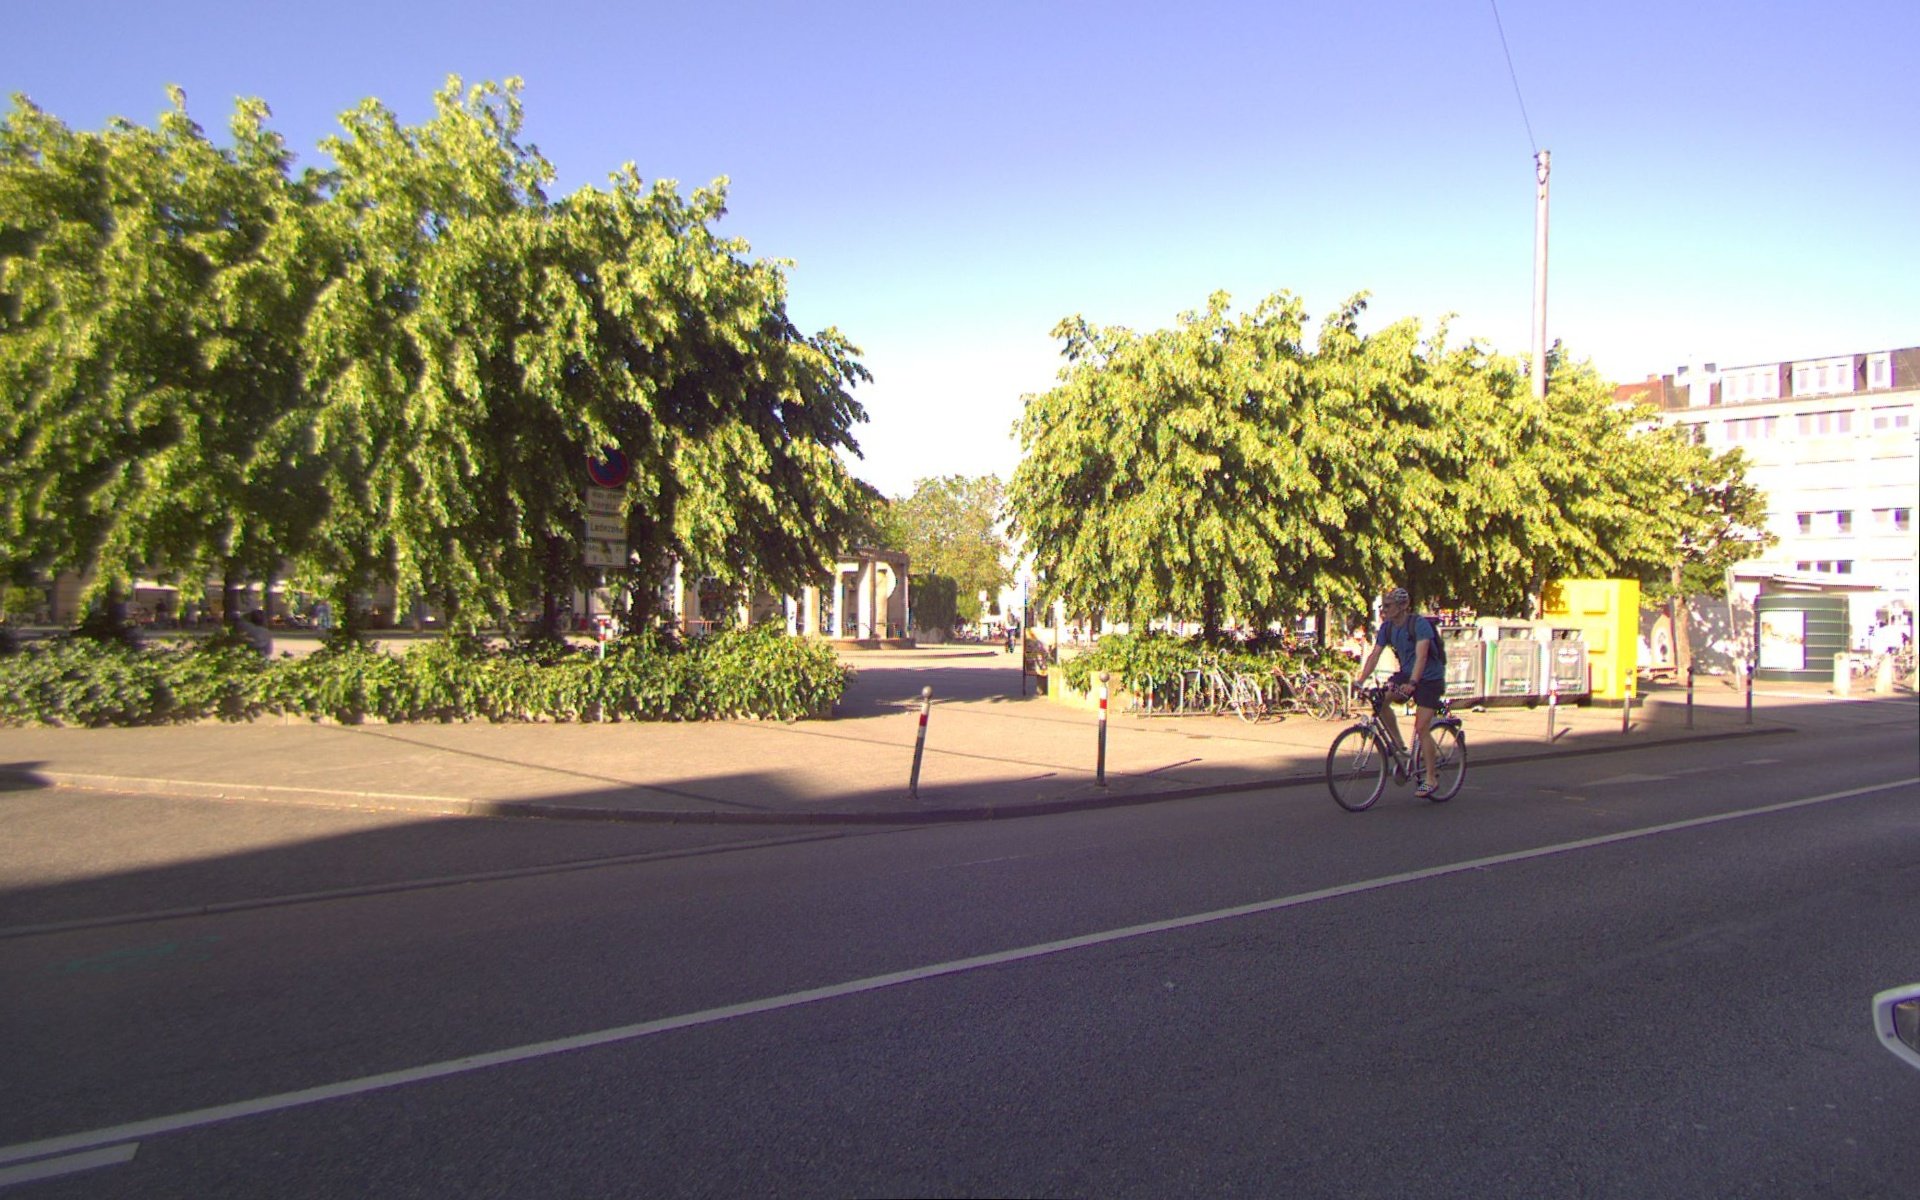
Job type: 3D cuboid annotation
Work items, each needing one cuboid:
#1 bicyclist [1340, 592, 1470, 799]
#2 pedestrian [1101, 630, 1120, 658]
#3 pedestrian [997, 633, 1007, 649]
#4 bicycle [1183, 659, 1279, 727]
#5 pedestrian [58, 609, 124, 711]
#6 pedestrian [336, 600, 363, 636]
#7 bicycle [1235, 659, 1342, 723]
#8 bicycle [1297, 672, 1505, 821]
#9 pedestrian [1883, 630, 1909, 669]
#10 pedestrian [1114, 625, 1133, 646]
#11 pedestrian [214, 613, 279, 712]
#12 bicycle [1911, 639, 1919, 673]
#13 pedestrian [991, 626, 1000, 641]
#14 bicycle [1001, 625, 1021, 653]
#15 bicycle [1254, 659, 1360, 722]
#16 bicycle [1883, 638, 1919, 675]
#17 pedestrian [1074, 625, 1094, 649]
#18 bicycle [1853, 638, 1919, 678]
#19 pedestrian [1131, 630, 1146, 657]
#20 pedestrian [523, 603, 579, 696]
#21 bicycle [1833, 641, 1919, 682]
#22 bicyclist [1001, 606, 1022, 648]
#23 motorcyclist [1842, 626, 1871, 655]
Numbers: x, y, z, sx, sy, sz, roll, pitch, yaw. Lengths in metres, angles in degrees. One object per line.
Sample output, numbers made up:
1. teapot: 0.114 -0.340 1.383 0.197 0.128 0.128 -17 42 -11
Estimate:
1. bicyclist: 3.935 0.815 8.900 0.799 1.732 0.698 2 -2 -27
2. pedestrian: 8.816 2.575 58.843 0.904 1.541 0.936 2 0 15
3. pedestrian: 4.823 4.740 116.193 0.891 1.845 0.952 2 0 17
4. bicycle: 4.165 1.413 15.525 0.464 0.897 1.558 2 0 -29
5. pedestrian: -12.869 0.875 14.884 0.615 1.456 0.647 2 0 -32
6. pedestrian: -26.954 0.795 44.336 0.679 1.550 0.741 2 0 8
7. bicycle: 5.265 1.445 16.183 0.465 0.870 1.659 2 0 -35
8. bicycle: 3.916 1.242 8.888 1.933 1.177 0.614 2 -3 -28
9. pedestrian: 43.722 2.317 46.914 0.702 1.783 0.836 2 0 -43
10. pedestrian: 10.084 2.202 61.862 0.885 1.230 0.865 2 0 -13
11. pedestrian: -10.861 0.938 15.301 0.581 1.456 0.615 2 0 33
12. bicycle: 37.237 2.155 37.272 0.932 1.276 2.648 2 0 -32
13. pedestrian: 3.722 3.488 104.498 0.744 1.557 0.673 2 0 -12
14. bicycle: 2.174 1.680 43.275 0.594 1.116 1.988 2 0 -4
15. bicycle: 5.663 1.455 16.479 0.465 0.870 1.654 2 0 -35
16. bicycle: 35.253 2.084 36.128 0.932 1.287 2.859 2 0 -32
17. pedestrian: 9.942 2.925 80.425 1.275 1.867 1.101 2 0 23
18. bicycle: 33.135 2.040 35.062 0.923 1.291 2.764 2 0 -32
19. pedestrian: 10.351 2.520 58.170 0.761 1.541 0.838 2 0 6
20. pedestrian: -7.036 0.839 17.277 0.688 1.541 0.676 2 0 -41
21. bicycle: 31.212 2.064 33.760 0.932 1.211 2.645 2 0 -32
22. bicyclist: 2.197 1.152 43.044 0.773 1.722 0.895 2 0 -3
23. motorcyclist: 51.794 2.339 58.021 1.093 1.655 0.774 2 0 31
